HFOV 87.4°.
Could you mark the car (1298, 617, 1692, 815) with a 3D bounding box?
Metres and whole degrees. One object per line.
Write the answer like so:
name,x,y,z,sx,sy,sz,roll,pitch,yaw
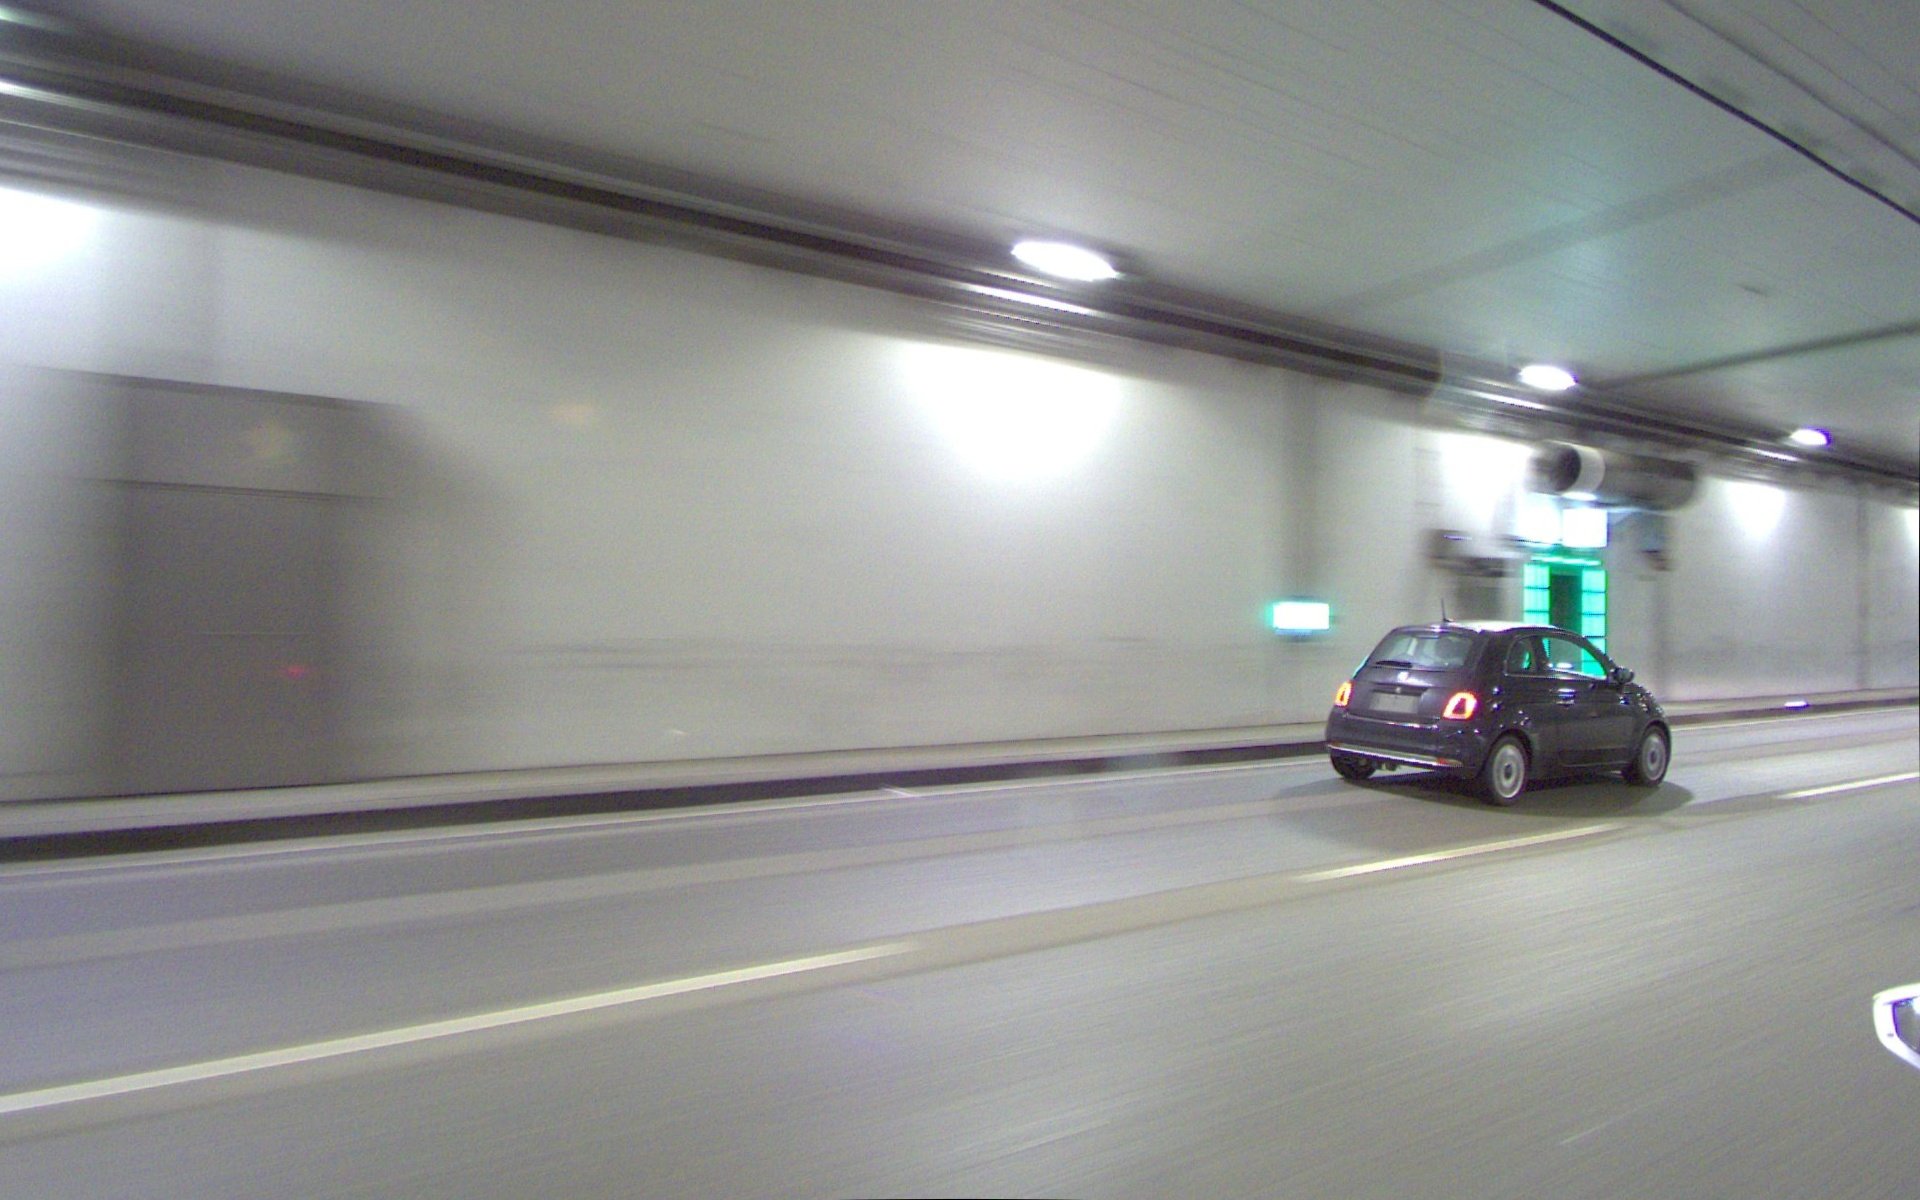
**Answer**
car,4.976,0.934,9.262,3.531,1.474,1.604,1,0,-31
